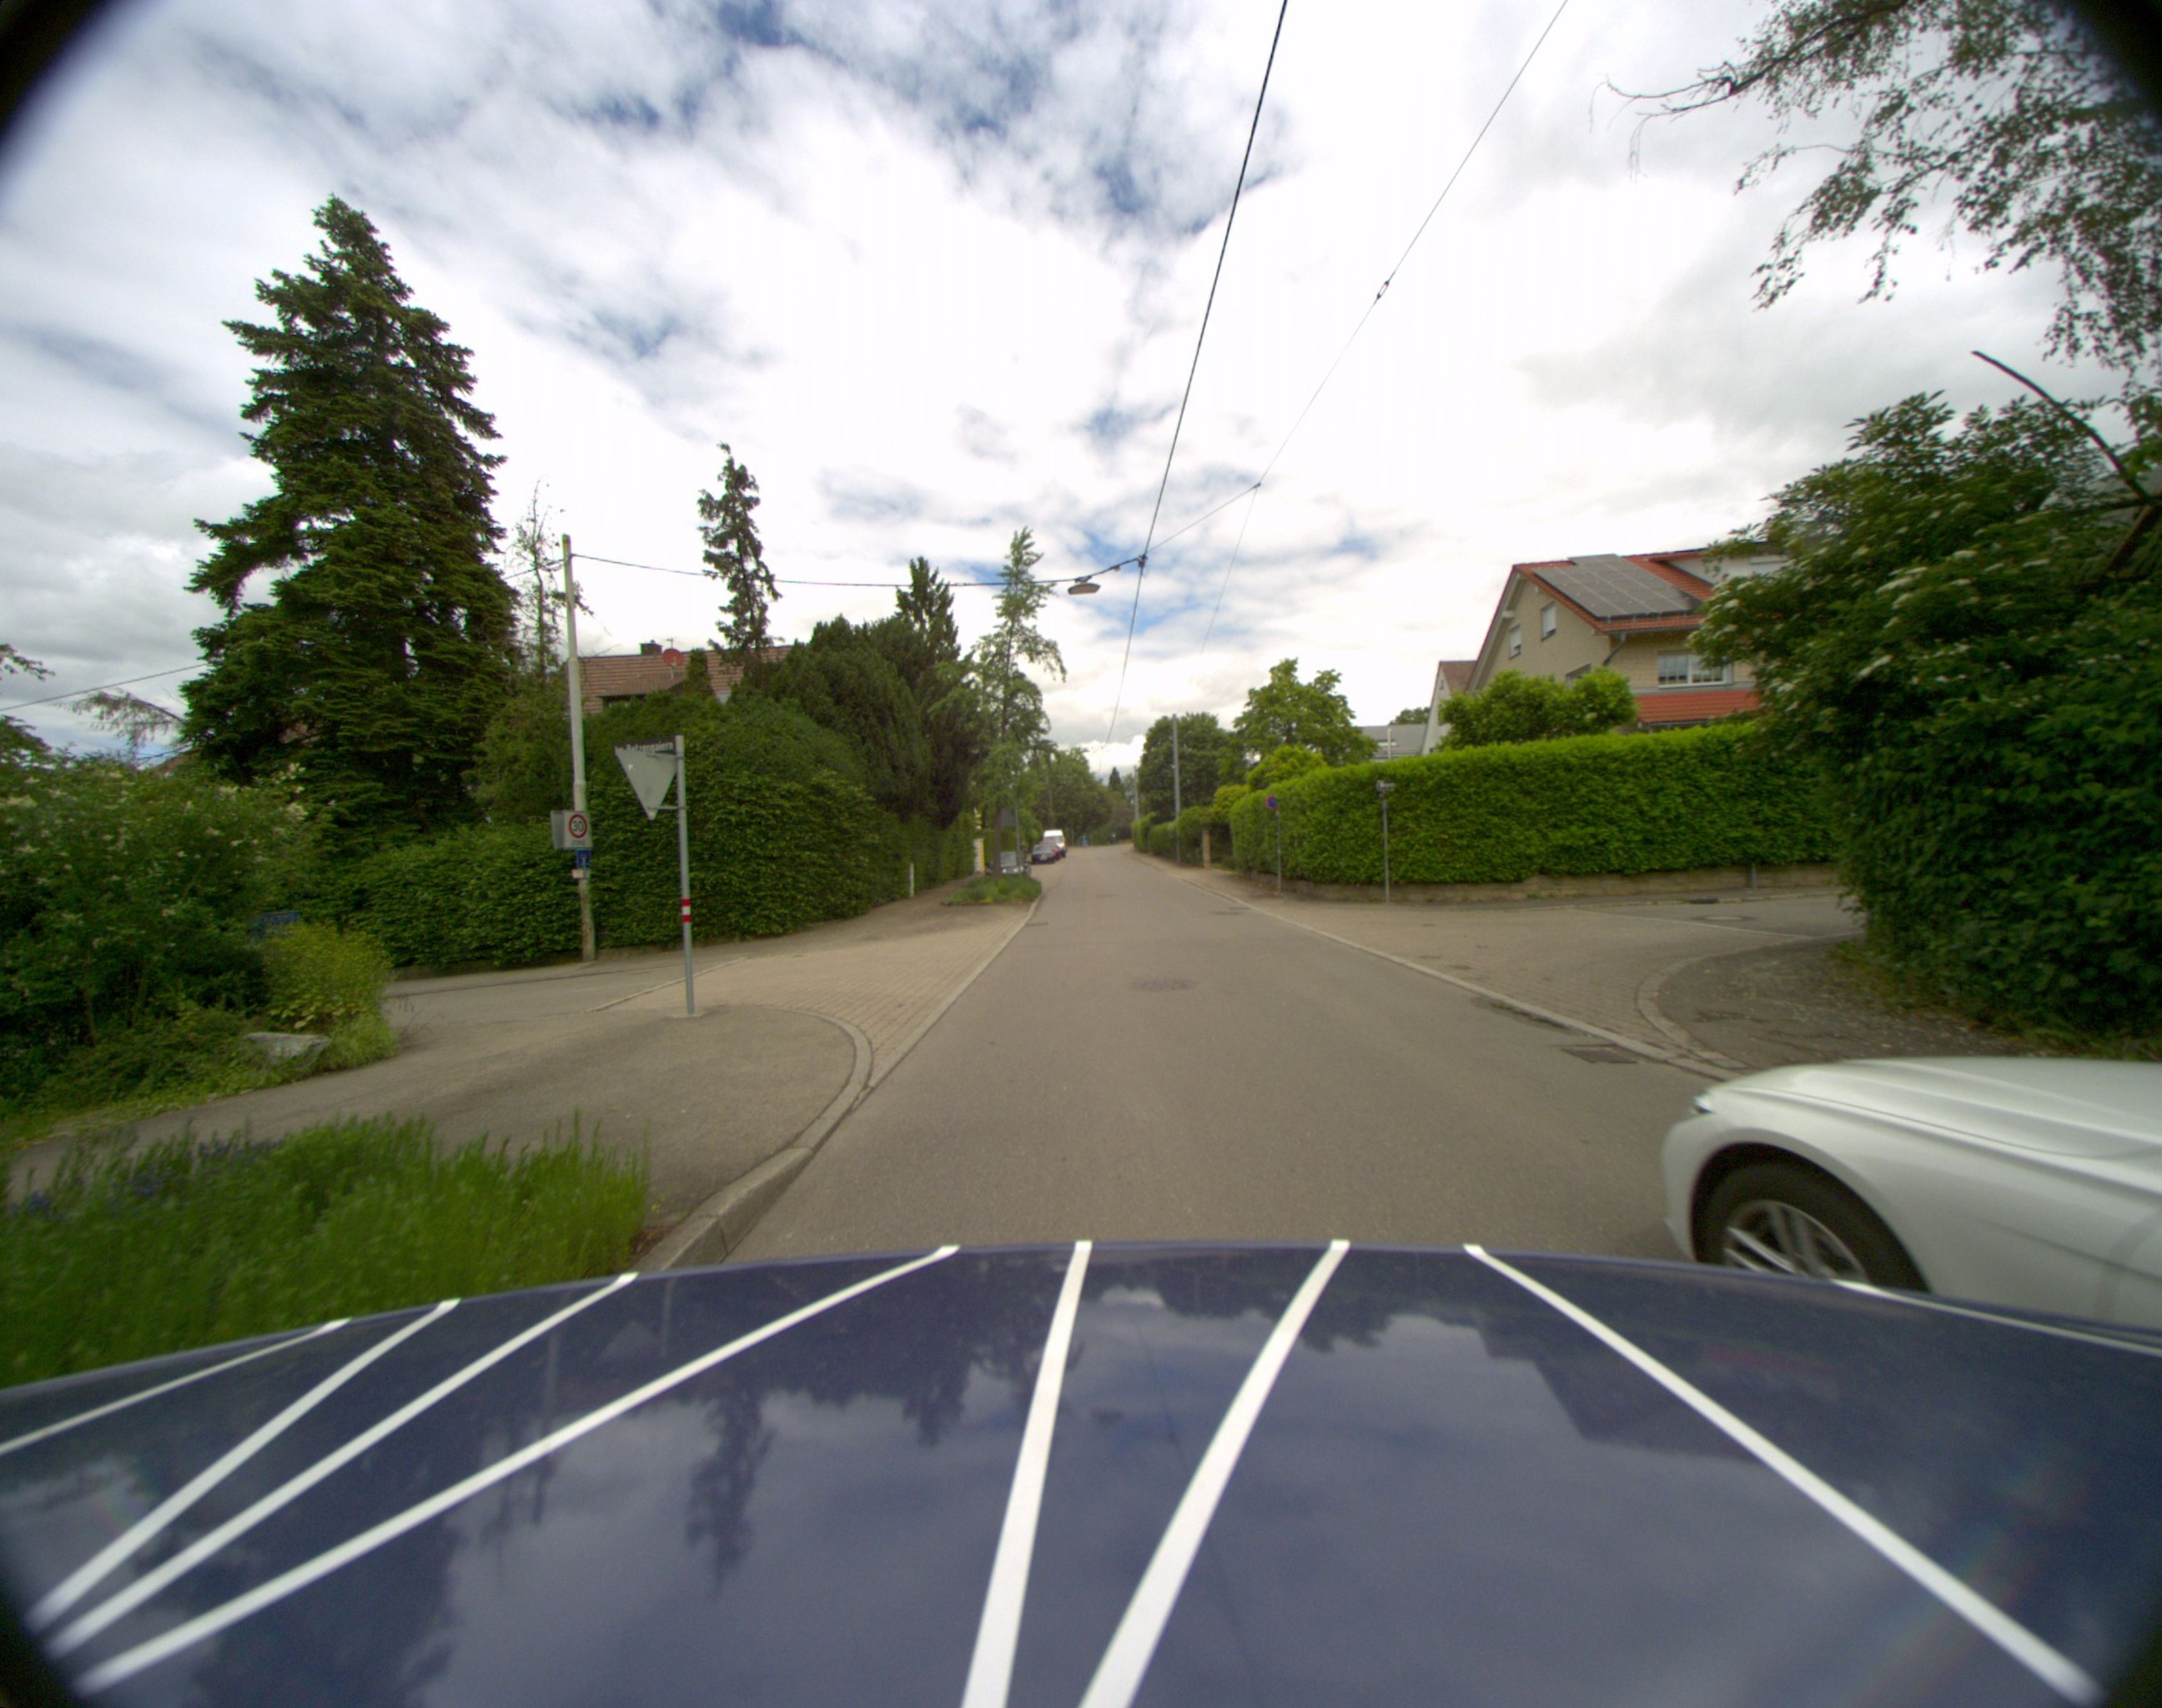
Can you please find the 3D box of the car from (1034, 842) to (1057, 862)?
[{"bbox_3d":[-2.696,-0.159,57.738,1.683,1.399,4.051,-1,2,-3],"label":"car"}]

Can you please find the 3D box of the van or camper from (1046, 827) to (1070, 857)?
[{"bbox_3d":[-2.186,-1.196,72.807,2.046,2.605,7.035,-4,2,-1],"label":"van or camper"}]

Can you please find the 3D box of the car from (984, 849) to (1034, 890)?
[{"bbox_3d":[-2.973,0.604,31.894,1.627,1.465,3.739,-3,2,1],"label":"car"}]

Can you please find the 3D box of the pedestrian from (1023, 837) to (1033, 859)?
[{"bbox_3d":[-4.283,-0.482,61.245,0.671,1.689,0.918,-1,2,3],"label":"pedestrian"}]

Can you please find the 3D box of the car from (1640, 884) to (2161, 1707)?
[{"bbox_3d":[2.749,0.842,0.317,1.810,1.423,4.299,0,1,-1],"label":"car"}]

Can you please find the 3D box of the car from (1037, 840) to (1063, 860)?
[{"bbox_3d":[-2.584,-0.379,64.459,1.893,1.572,4.763,-1,2,1],"label":"car"}]
